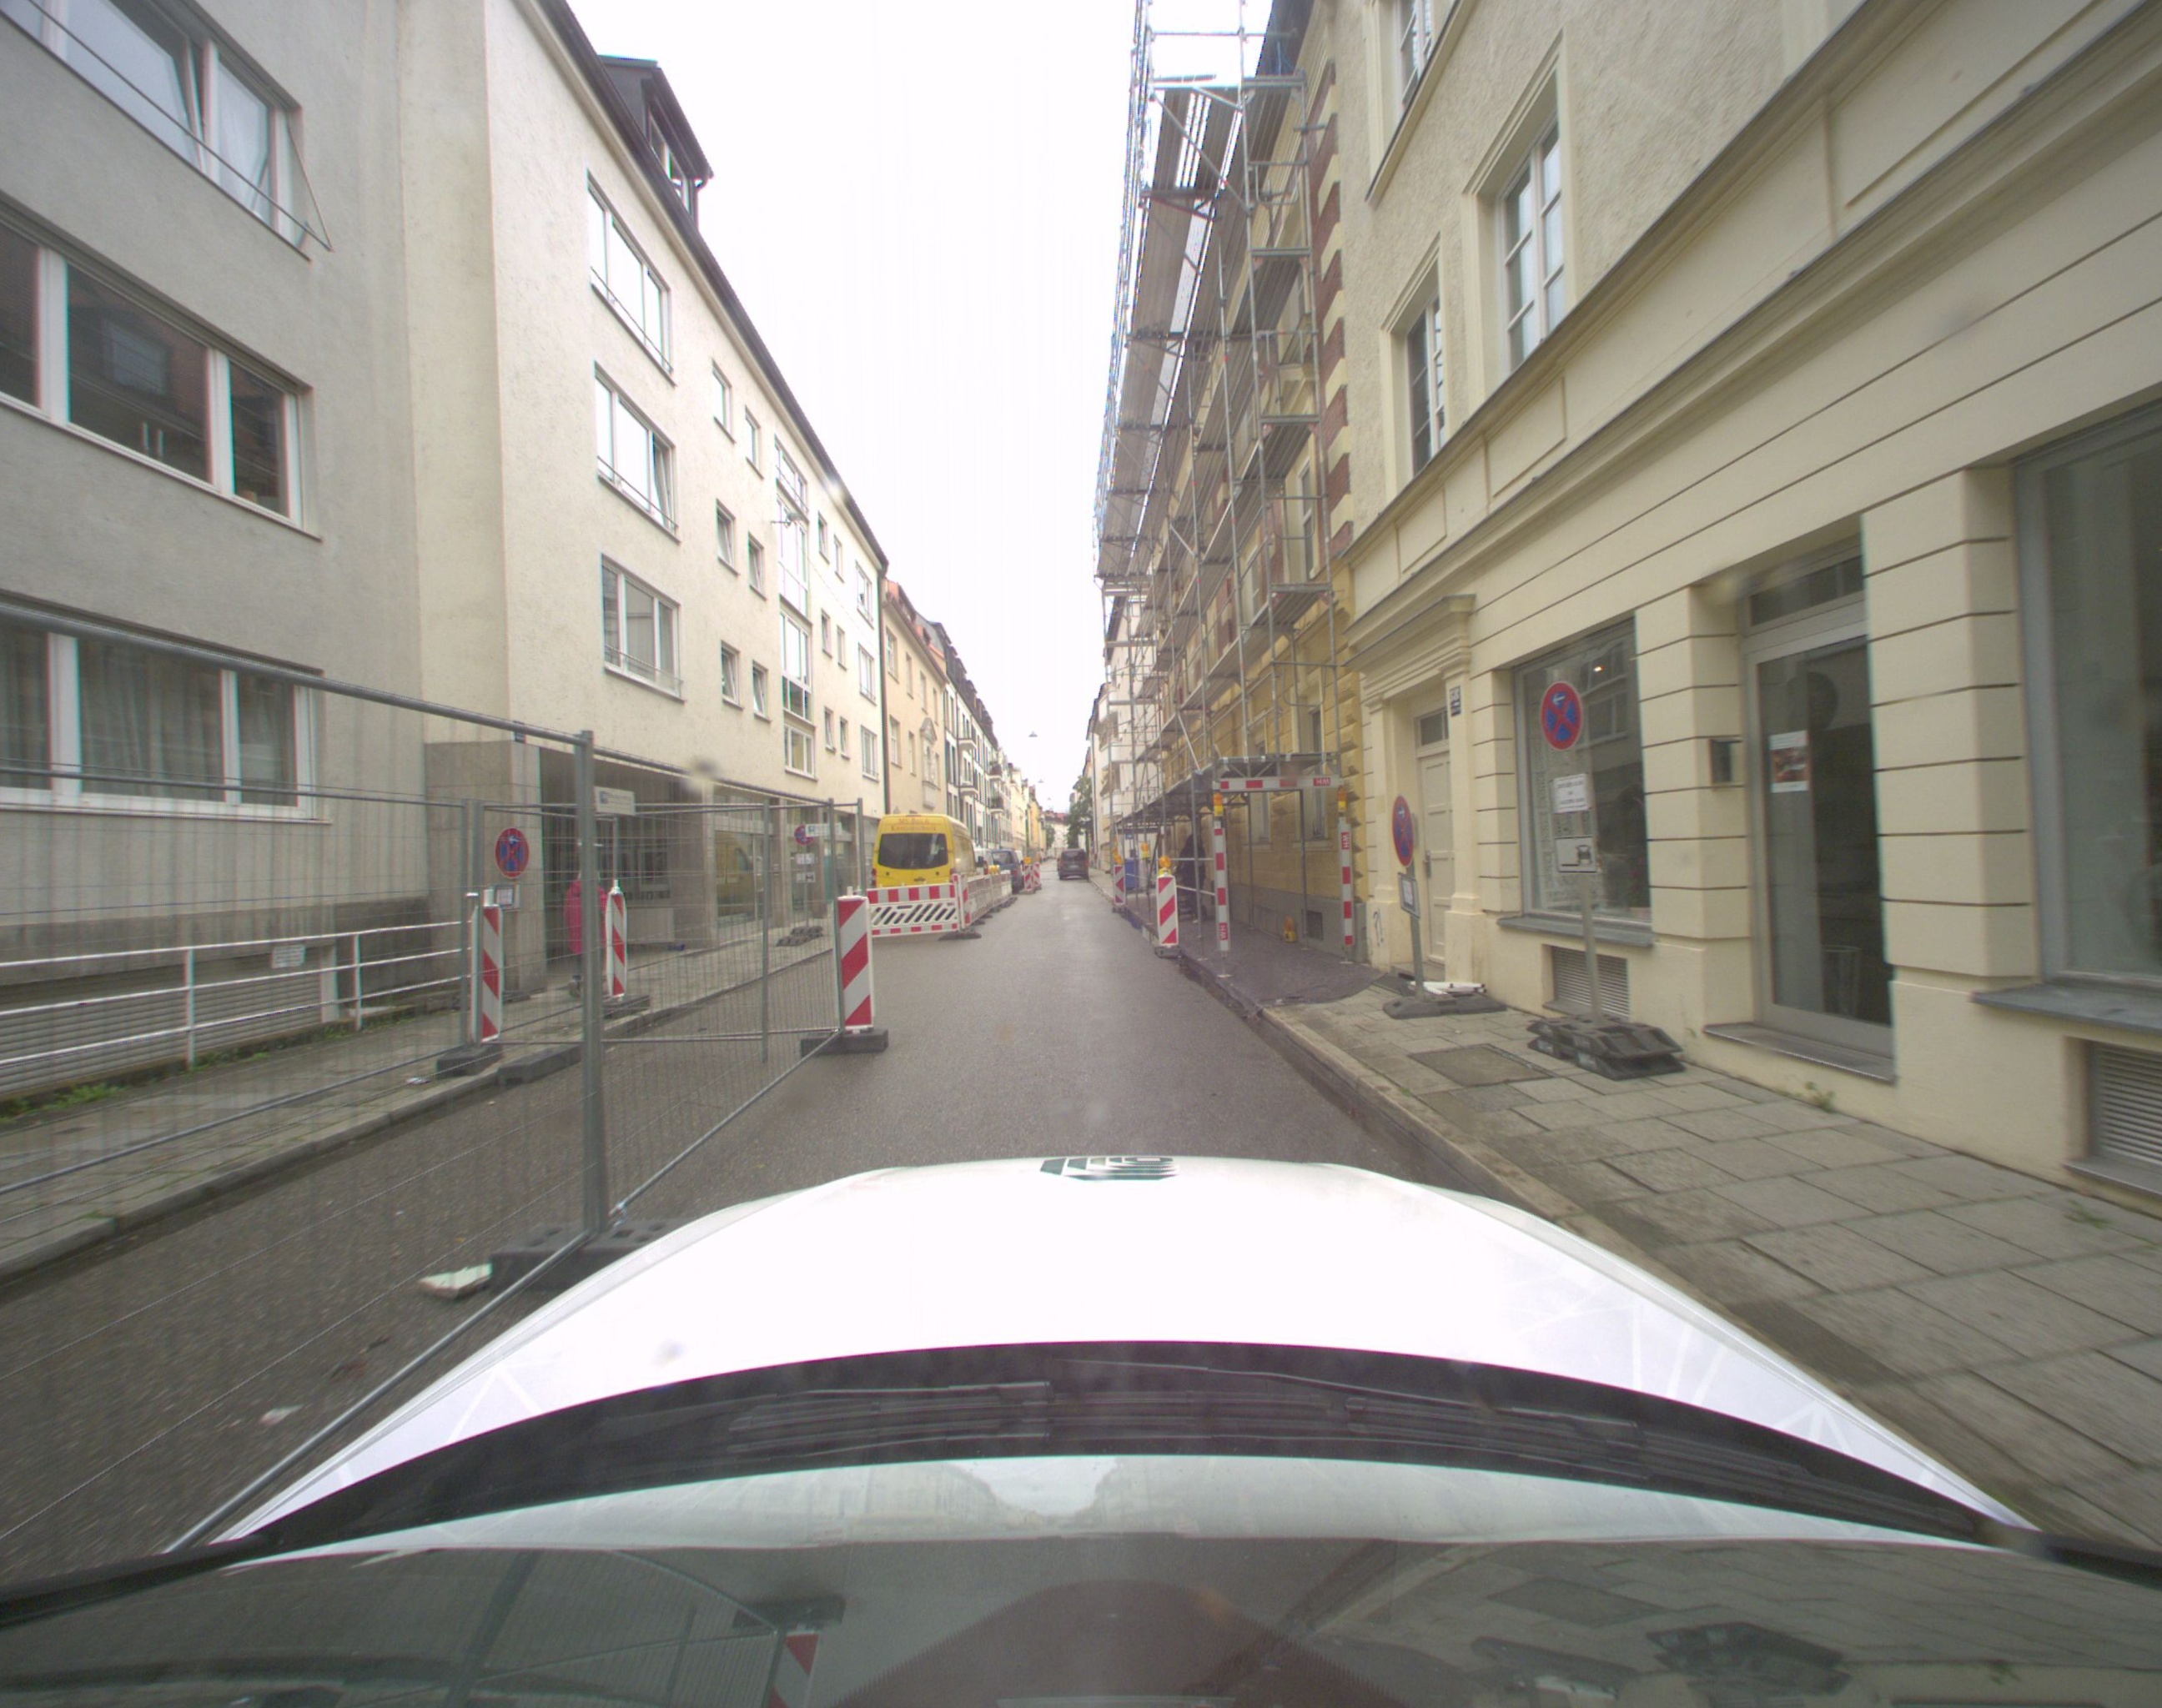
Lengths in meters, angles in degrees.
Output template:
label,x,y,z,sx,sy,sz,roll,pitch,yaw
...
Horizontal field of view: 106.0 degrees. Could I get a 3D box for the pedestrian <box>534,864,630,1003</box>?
label,x,y,z,sx,sy,sz,roll,pitch,yaw
pedestrian,-5.785,0.896,9.481,0.636,1.532,0.747,-1,0,0

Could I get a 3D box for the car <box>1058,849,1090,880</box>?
label,x,y,z,sx,sy,sz,roll,pitch,yaw
car,-0.519,0.651,53.743,1.988,1.932,4.656,-1,0,-2

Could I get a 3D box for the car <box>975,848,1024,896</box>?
label,x,y,z,sx,sy,sz,roll,pitch,yaw
car,-3.643,0.778,37.217,1.722,1.897,5.505,-4,0,-2

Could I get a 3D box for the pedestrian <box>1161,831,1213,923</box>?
label,x,y,z,sx,sy,sz,roll,pitch,yaw
pedestrian,2.147,0.456,16.675,0.728,1.752,0.987,-6,0,-2

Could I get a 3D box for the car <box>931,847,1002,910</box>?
label,x,y,z,sx,sy,sz,roll,pitch,yaw
car,-3.965,0.808,28.954,1.913,1.897,4.785,-4,0,-3

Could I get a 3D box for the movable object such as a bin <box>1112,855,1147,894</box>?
label,x,y,z,sx,sy,sz,roll,pitch,yaw
movable object such as a bin,1.893,0.783,31.475,1.079,1.346,1.321,-5,0,11

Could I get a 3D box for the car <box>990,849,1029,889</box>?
label,x,y,z,sx,sy,sz,roll,pitch,yaw
car,-3.780,0.775,43.291,1.901,1.897,5.080,-2,0,-5

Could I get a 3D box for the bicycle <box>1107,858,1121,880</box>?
label,x,y,z,sx,sy,sz,roll,pitch,yaw
bicycle,1.906,0.849,46.990,0.636,1.153,1.914,-5,1,-1

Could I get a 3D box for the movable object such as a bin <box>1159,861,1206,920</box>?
label,x,y,z,sx,sy,sz,roll,pitch,yaw
movable object such as a bin,2.163,0.763,17.471,0.728,1.140,0.987,-7,0,-3

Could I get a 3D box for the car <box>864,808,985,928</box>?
label,x,y,z,sx,sy,sz,roll,pitch,yaw
car,-3.899,0.319,21.614,1.988,2.578,6.731,-3,0,-2
